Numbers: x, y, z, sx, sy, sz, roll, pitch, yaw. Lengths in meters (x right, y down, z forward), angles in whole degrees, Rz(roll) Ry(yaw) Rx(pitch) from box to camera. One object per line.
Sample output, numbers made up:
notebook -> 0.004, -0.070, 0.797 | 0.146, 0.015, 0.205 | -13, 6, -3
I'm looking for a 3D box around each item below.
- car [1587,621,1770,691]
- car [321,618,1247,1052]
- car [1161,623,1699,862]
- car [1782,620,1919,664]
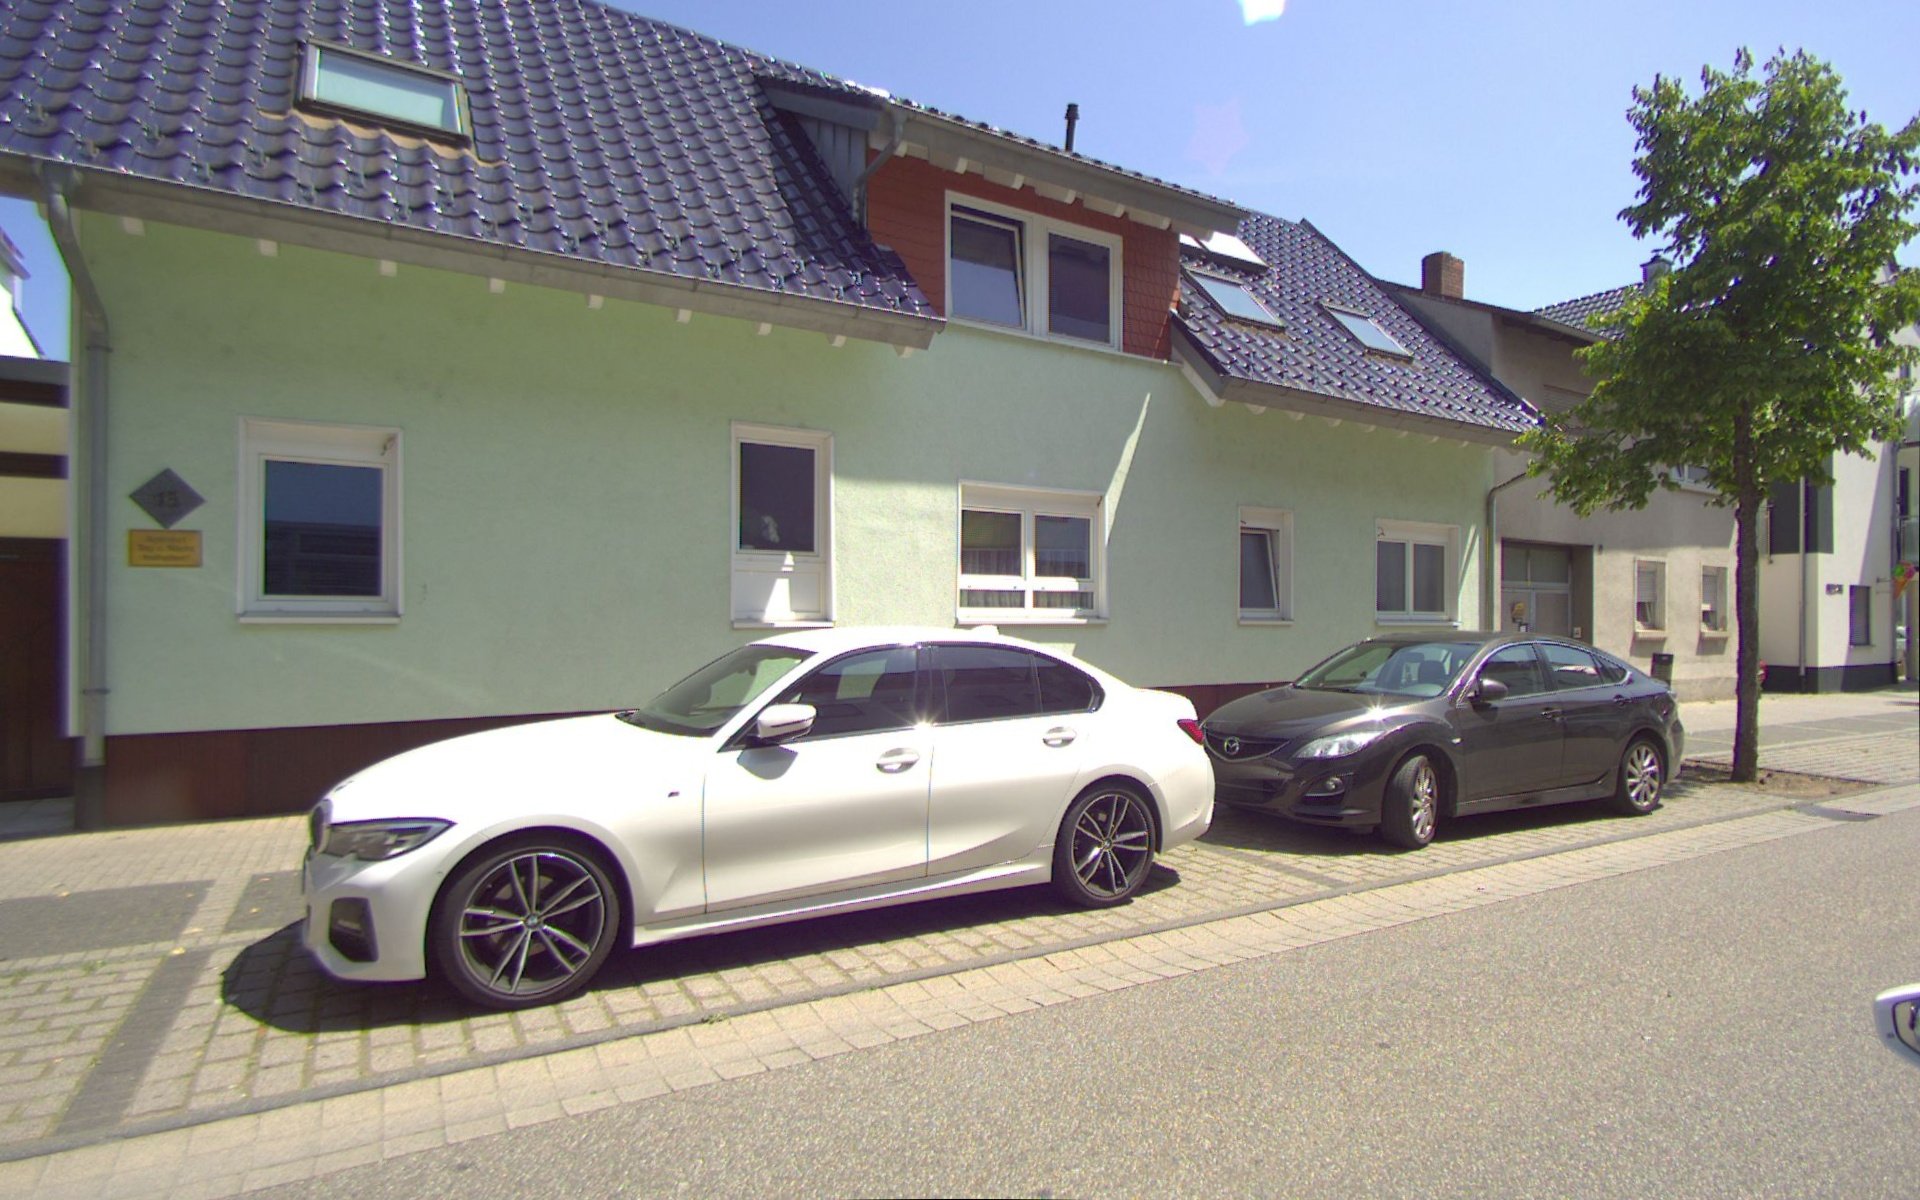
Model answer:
car -> 16.394, 1.233, 23.025 | 1.571, 1.462, 3.093 | 1, -1, -35
car -> -0.695, 0.843, 5.280 | 4.408, 1.456, 1.711 | 1, -1, -31
car -> 3.872, 0.931, 8.039 | 4.484, 1.456, 1.653 | 1, -1, -30
car -> 34.085, 1.571, 38.514 | 3.874, 1.566, 1.509 | -1, 1, 44
